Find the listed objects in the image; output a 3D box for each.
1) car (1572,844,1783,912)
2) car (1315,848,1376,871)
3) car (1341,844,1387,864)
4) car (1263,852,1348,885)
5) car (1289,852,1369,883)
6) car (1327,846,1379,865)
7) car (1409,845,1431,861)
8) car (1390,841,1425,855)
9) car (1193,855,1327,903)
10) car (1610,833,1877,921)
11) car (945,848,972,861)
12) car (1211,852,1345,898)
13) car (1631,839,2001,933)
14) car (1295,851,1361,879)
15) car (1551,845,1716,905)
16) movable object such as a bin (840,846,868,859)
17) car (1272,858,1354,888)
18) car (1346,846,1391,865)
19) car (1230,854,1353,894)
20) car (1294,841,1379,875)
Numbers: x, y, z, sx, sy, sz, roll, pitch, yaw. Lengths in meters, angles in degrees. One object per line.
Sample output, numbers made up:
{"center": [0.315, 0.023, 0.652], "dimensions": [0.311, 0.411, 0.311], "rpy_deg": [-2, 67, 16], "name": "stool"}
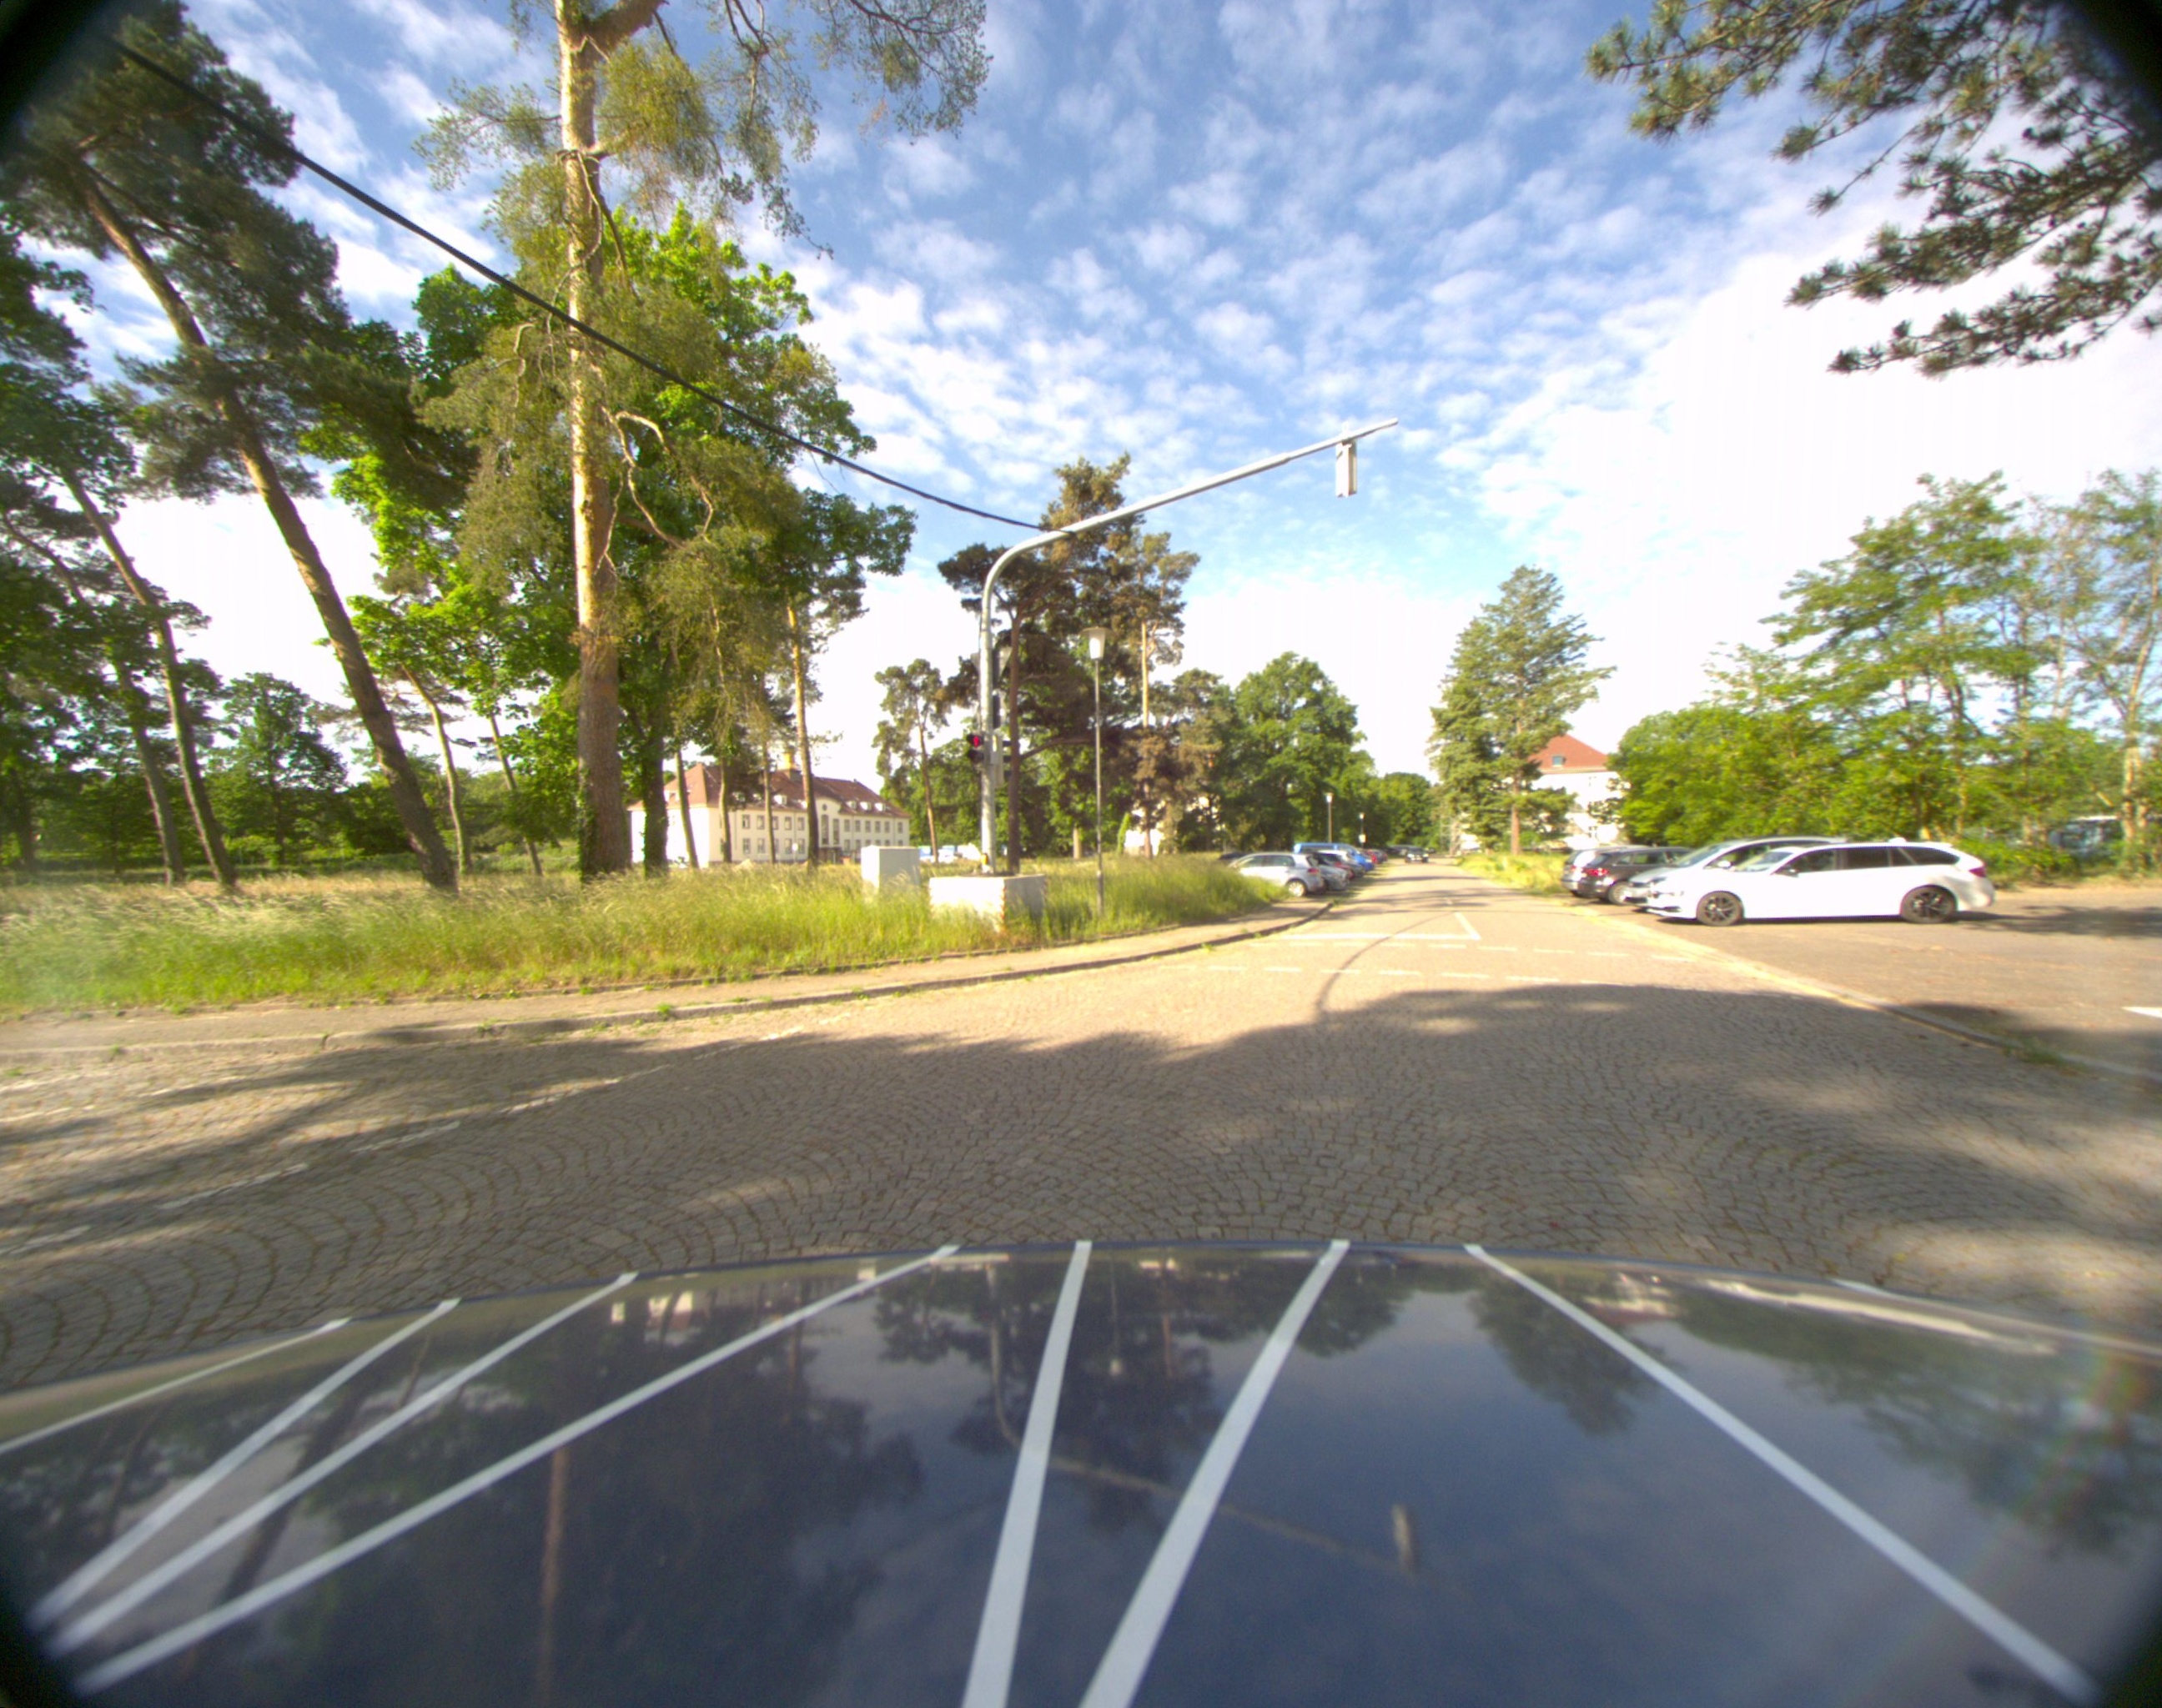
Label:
{"center": [14.818, 0.601, 19.136], "dimensions": [3.801, 1.462, 1.690], "rpy_deg": [-4, 0, 23], "name": "car"}
{"center": [19.159, 0.376, 54.995], "dimensions": [3.989, 1.630, 1.760], "rpy_deg": [-1, 1, 27], "name": "car"}
{"center": [27.432, -0.007, 73.629], "dimensions": [3.990, 1.730, 1.760], "rpy_deg": [-2, 0, 27], "name": "car"}
{"center": [10.833, 0.690, 36.618], "dimensions": [3.773, 1.482, 1.551], "rpy_deg": [-1, 1, 23], "name": "car"}
{"center": [12.733, 0.667, 39.028], "dimensions": [3.616, 1.482, 1.510], "rpy_deg": [0, 1, 34], "name": "car"}
{"center": [23.139, 0.131, 64.577], "dimensions": [3.989, 1.509, 1.760], "rpy_deg": [-1, 1, 27], "name": "car"}
{"center": [34.056, -0.101, 76.452], "dimensions": [1.865, 1.576, 4.006], "rpy_deg": [-1, 1, 22], "name": "car"}
{"center": [52.203, -0.956, 121.411], "dimensions": [5.059, 2.251, 2.003], "rpy_deg": [-1, 1, 24], "name": "car"}
{"center": [5.896, 0.779, 25.014], "dimensions": [4.019, 1.452, 1.874], "rpy_deg": [0, 1, 23], "name": "car"}
{"center": [14.121, 0.501, 16.487], "dimensions": [3.948, 1.616, 1.724], "rpy_deg": [-3, 0, 19], "name": "car"}
{"center": [-20.032, 0.031, 124.152], "dimensions": [1.995, 2.002, 4.780], "rpy_deg": [-1, 1, 25], "name": "car"}
{"center": [7.093, 0.700, 27.366], "dimensions": [4.499, 1.508, 1.828], "rpy_deg": [1, 1, 21], "name": "car"}
{"center": [13.219, 0.601, 14.075], "dimensions": [4.546, 1.458, 1.755], "rpy_deg": [-3, -1, 21], "name": "car"}
{"center": [13.591, 0.590, 41.770], "dimensions": [3.259, 1.482, 1.452], "rpy_deg": [-1, 1, 26], "name": "car"}
{"center": [15.643, 0.600, 21.723], "dimensions": [3.469, 1.462, 1.639], "rpy_deg": [-4, 0, 21], "name": "car"}
{"center": [-39.889, -0.289, 133.724], "dimensions": [1.995, 2.309, 4.994], "rpy_deg": [0, 1, 20], "name": "movable object such as a bin"}
{"center": [10.370, 0.822, 33.937], "dimensions": [3.351, 1.248, 1.422], "rpy_deg": [-1, 1, 23], "name": "car"}
{"center": [29.503, 0.142, 78.022], "dimensions": [3.990, 1.605, 1.759], "rpy_deg": [-4, 0, 28], "name": "car"}
{"center": [8.280, 0.752, 29.893], "dimensions": [4.415, 1.394, 1.829], "rpy_deg": [1, 1, 23], "name": "car"}
{"center": [15.705, 0.265, 46.730], "dimensions": [4.718, 2.002, 2.003], "rpy_deg": [-1, 1, 25], "name": "car"}
